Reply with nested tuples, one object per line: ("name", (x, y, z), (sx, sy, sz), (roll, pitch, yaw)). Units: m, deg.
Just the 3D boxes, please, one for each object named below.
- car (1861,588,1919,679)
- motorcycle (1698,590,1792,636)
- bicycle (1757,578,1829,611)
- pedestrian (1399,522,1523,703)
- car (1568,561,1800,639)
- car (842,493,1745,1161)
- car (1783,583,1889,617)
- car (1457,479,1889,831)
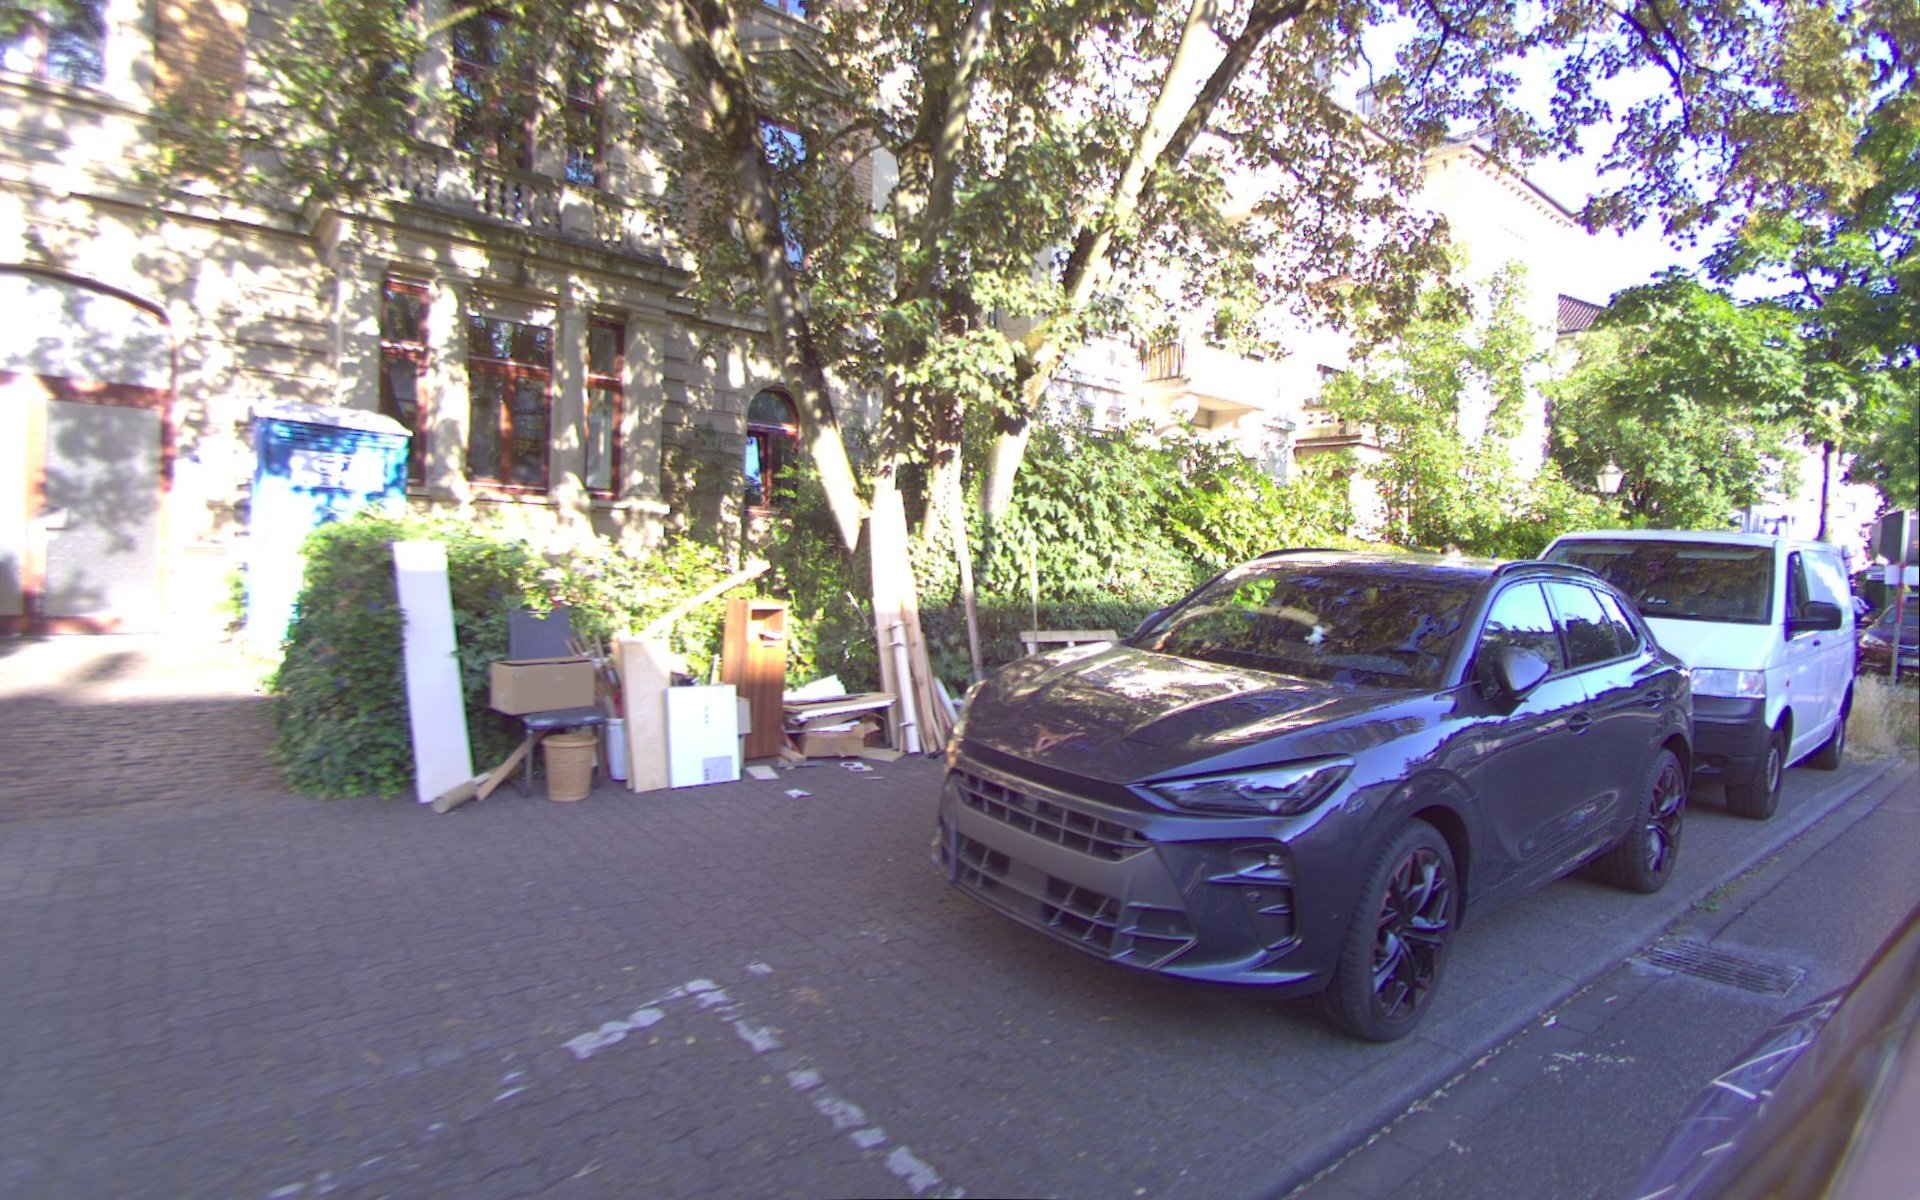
("car", (17.609, 0.584, 17.971), (4.534, 1.437, 1.761), (0, 5, -41))
("motorcycle", (23.422, 0.362, 30.206), (2.153, 1.255, 0.778), (3, 2, 40))
("bicycle", (38.788, -0.274, 47.135), (0.912, 1.459, 2.457), (0, 2, -42))
("pedestrian", (5.312, 0.102, 10.718), (1.071, 1.795, 0.821), (0, 2, -44))
("car", (20.159, -0.052, 28.471), (4.881, 1.923, 1.907), (2, 2, 22))
("car", (1.781, 0.487, 4.546), (4.236, 1.623, 1.860), (0, 5, -41))
("car", (43.757, -0.030, 50.598), (1.550, 1.523, 3.870), (0, 3, -44))
("car", (6.054, 0.288, 8.348), (4.561, 2.129, 1.906), (0, 2, -42))
